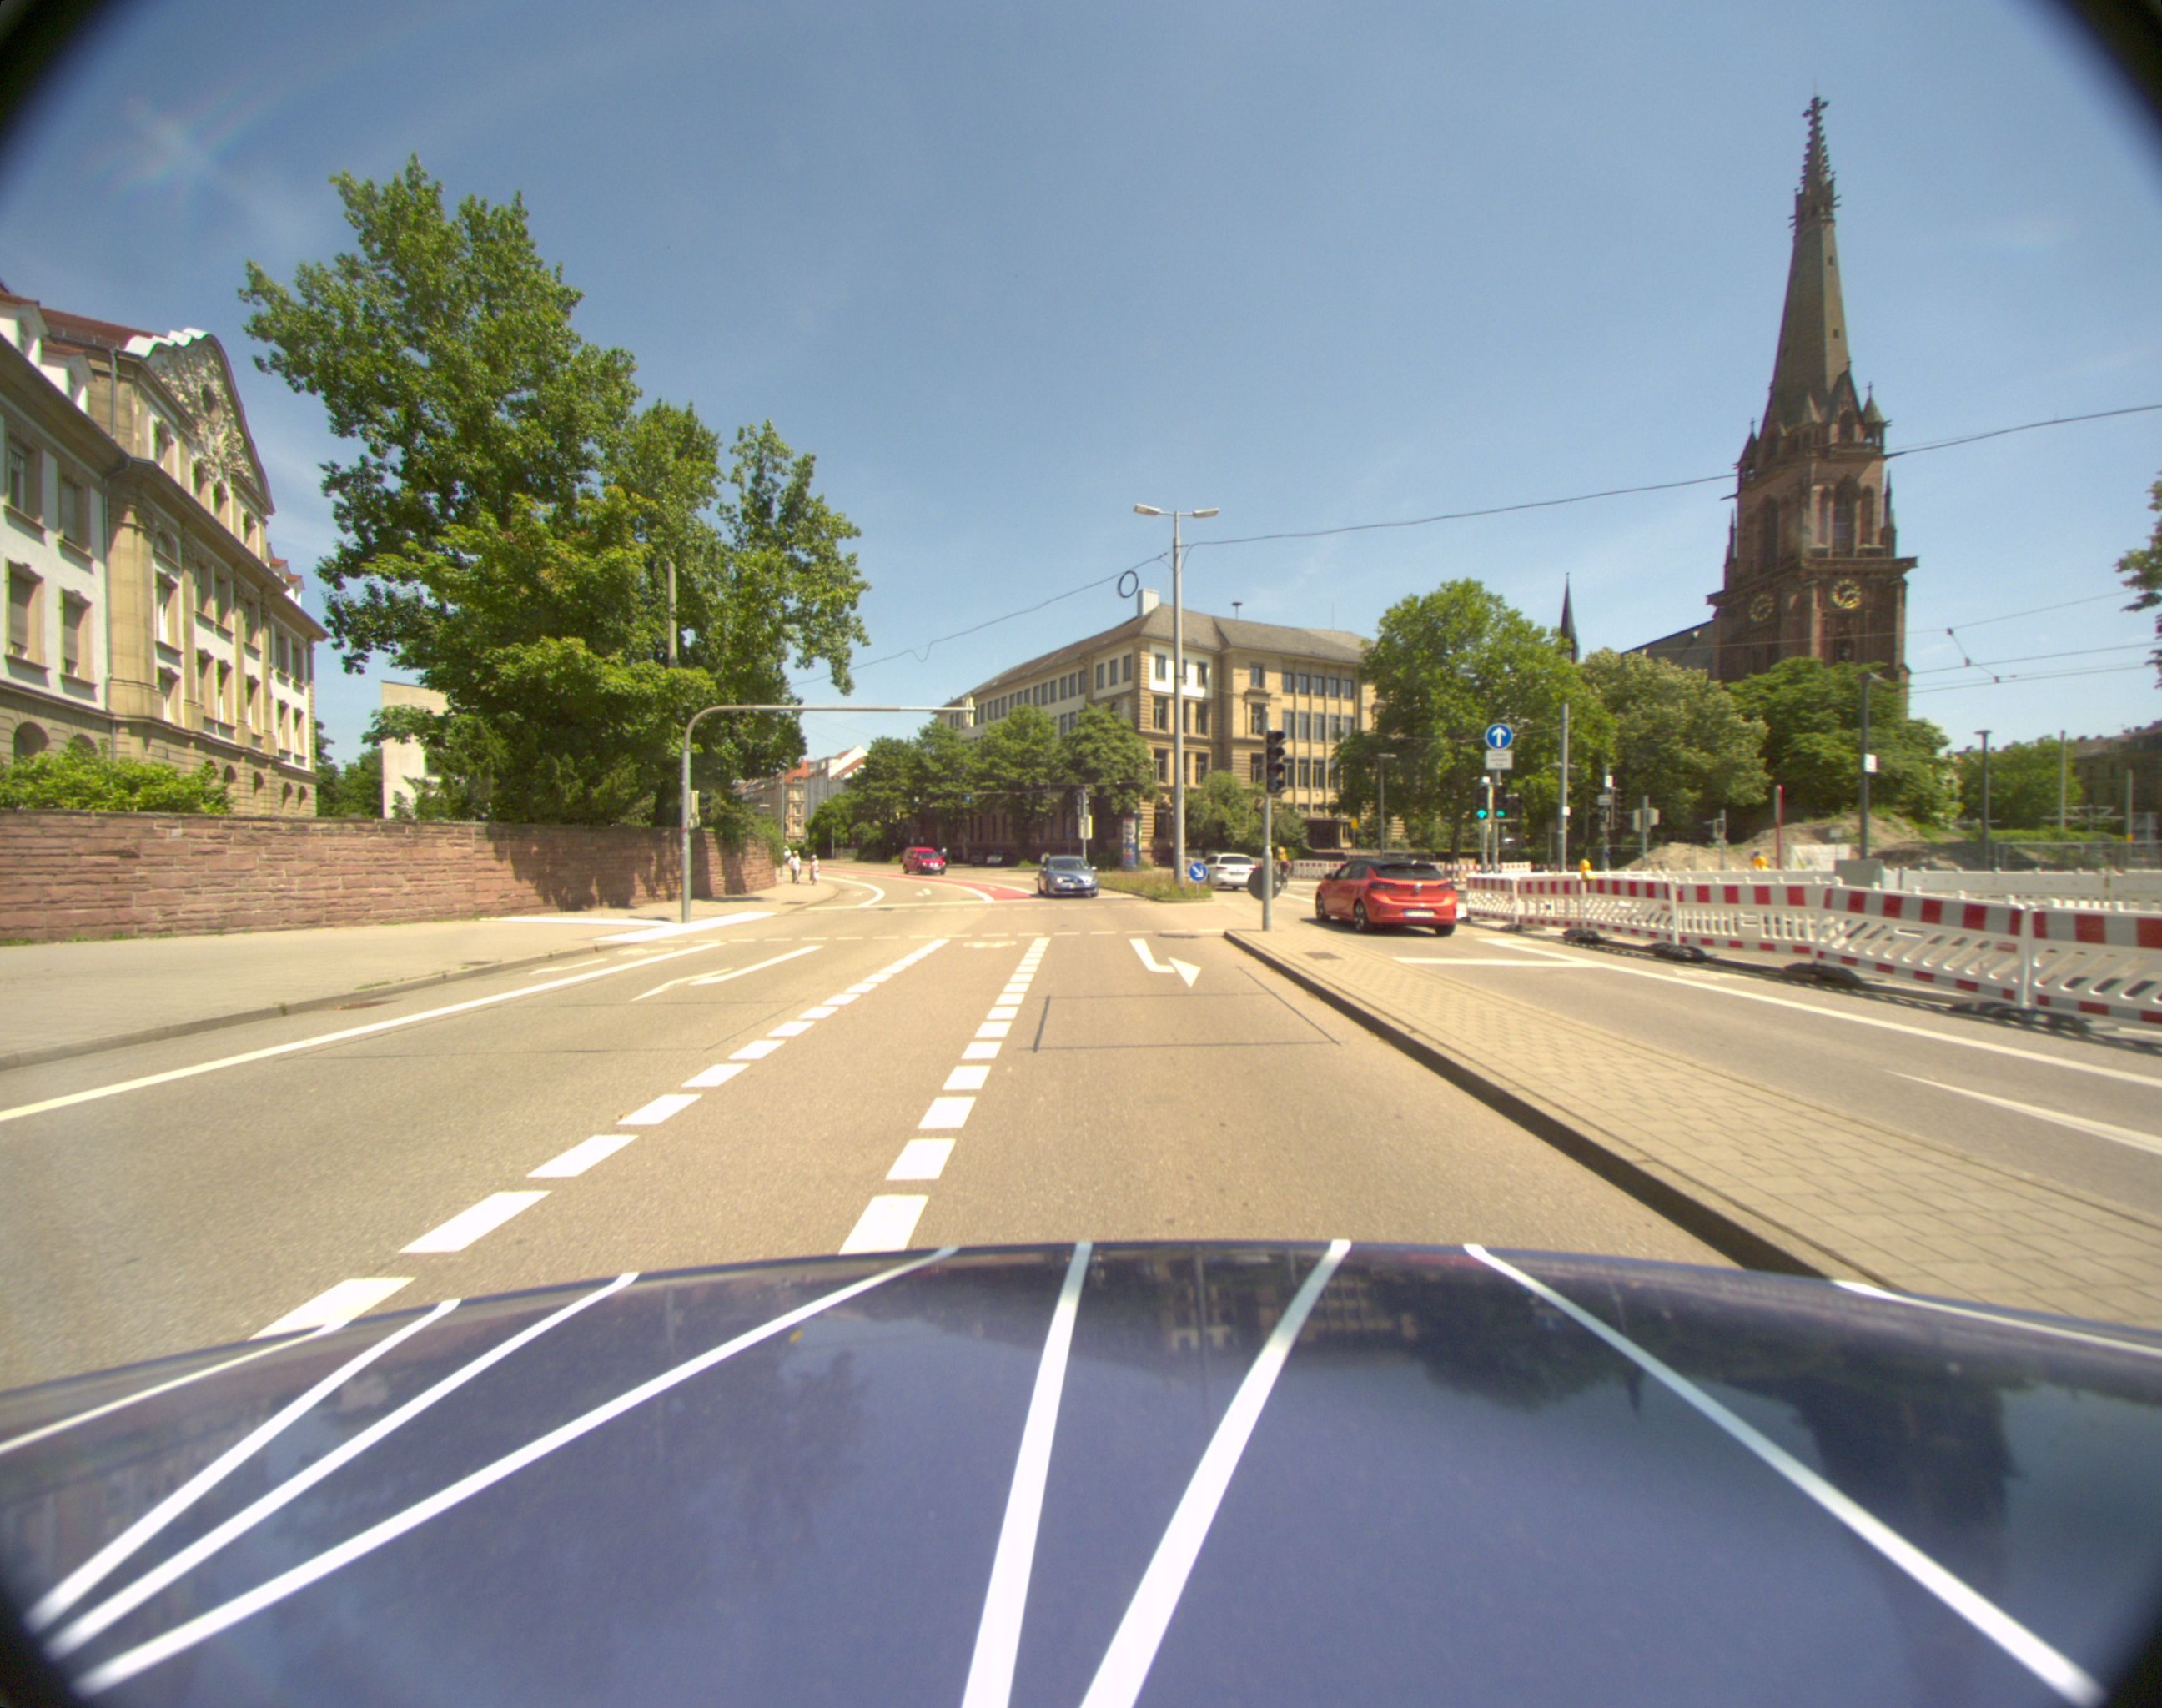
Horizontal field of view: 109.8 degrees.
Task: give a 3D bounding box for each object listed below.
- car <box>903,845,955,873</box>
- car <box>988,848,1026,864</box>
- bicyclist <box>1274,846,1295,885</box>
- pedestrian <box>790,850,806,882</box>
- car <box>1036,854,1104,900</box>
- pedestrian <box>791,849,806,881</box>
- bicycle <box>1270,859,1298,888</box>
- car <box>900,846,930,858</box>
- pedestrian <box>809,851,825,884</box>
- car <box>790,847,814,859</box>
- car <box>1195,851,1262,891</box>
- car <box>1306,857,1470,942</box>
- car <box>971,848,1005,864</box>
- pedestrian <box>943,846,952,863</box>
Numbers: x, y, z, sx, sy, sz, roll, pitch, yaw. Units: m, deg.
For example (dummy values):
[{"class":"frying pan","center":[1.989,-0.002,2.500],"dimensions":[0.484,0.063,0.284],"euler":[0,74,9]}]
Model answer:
[{"class":"car","center":[-10.426,0.344,51.979],"dimensions":[1.837,1.756,4.268],"euler":[-3,1,-35]},{"class":"car","center":[-7.242,0.164,74.392],"dimensions":[1.567,1.412,3.559],"euler":[-1,1,40]},{"class":"bicyclist","center":[8.756,0.473,32.736],"dimensions":[0.587,1.655,0.798],"euler":[2,1,-3]},{"class":"pedestrian","center":[-14.406,0.615,38.672],"dimensions":[0.606,1.601,0.557],"euler":[2,-1,-31]},{"class":"car","center":[-0.475,0.763,27.107],"dimensions":[1.834,1.406,3.990],"euler":[-1,1,-9]},{"class":"pedestrian","center":[-15.222,0.588,40.941],"dimensions":[0.606,1.702,0.557],"euler":[2,-1,-32]},{"class":"bicycle","center":[8.746,0.814,32.798],"dimensions":[0.589,1.143,2.009],"euler":[2,1,-2]},{"class":"car","center":[-20.280,-0.250,93.205],"dimensions":[1.611,1.444,3.585],"euler":[-1,1,28]},{"class":"pedestrian","center":[-13.175,0.666,37.955],"dimensions":[0.606,1.601,0.557],"euler":[2,-1,-31]},{"class":"car","center":[-32.584,-0.150,88.743],"dimensions":[1.837,1.384,4.268],"euler":[0,1,-31]},{"class":"car","center":[5.840,0.618,30.587],"dimensions":[1.820,1.420,4.427],"euler":[2,0,0]},{"class":"car","center":[5.984,0.811,15.335],"dimensions":[1.692,1.370,4.013],"euler":[2,1,1]},{"class":"car","center":[-9.280,0.177,76.273],"dimensions":[1.567,1.454,3.156],"euler":[-1,1,38]},{"class":"pedestrian","center":[-13.263,0.042,75.676],"dimensions":[0.725,1.661,0.642],"euler":[0,1,-29]}]
